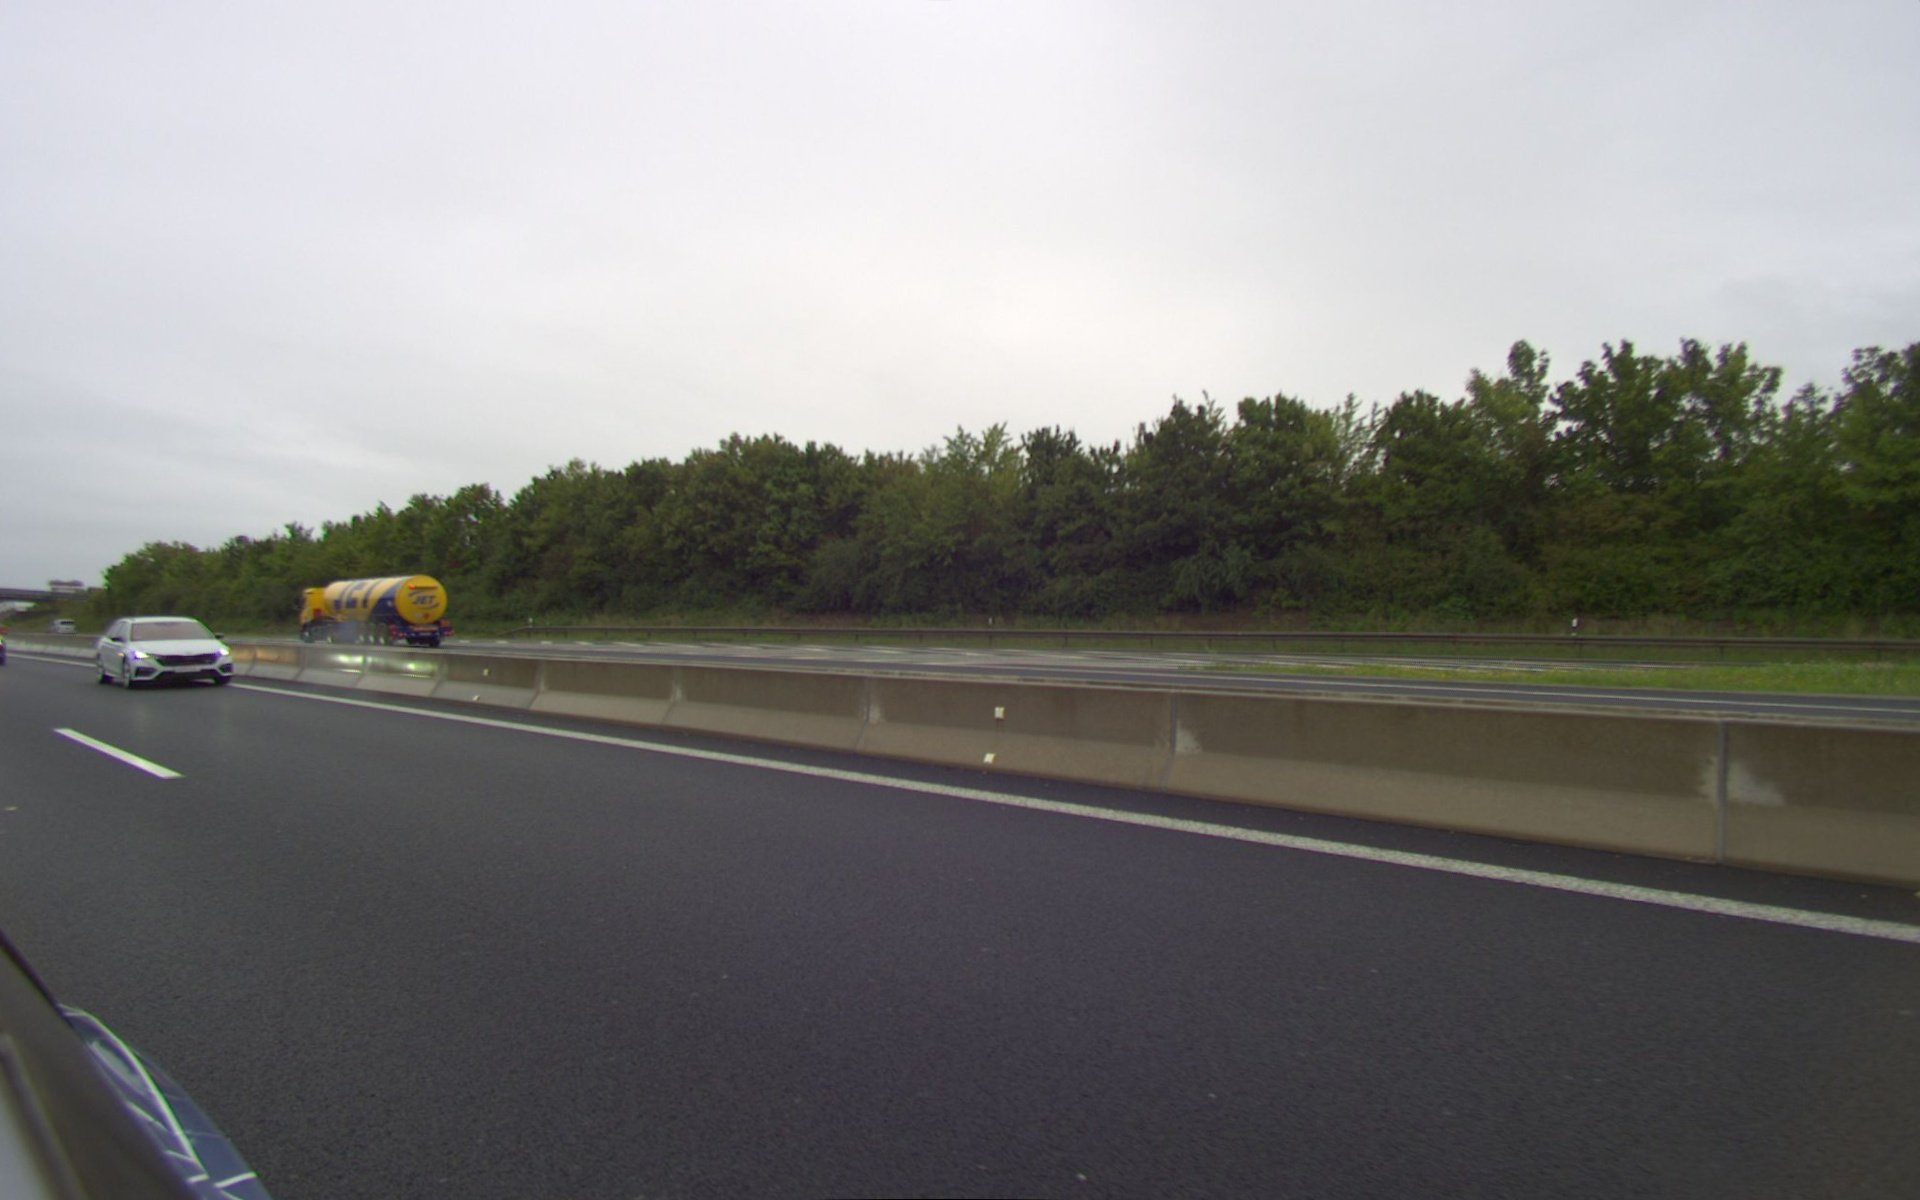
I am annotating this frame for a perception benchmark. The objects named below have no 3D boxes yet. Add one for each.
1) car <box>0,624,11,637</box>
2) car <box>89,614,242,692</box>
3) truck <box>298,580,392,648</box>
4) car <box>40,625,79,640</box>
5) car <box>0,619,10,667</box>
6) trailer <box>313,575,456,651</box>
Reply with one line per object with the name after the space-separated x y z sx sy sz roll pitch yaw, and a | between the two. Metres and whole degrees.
-130.483 4.166 136.733 4.610 1.708 2.164 -1 1 31 | car
-17.169 1.077 21.808 4.112 1.518 1.880 -2 -2 41 | car
-32.960 0.735 54.187 5.844 3.424 2.732 -1 0 42 | truck
-101.934 3.663 114.567 4.553 1.708 2.163 -1 -2 32 | car
-32.138 1.376 32.564 4.112 1.518 1.880 -2 -2 41 | car
-28.997 0.666 50.621 11.444 3.424 2.732 -1 0 42 | trailer
